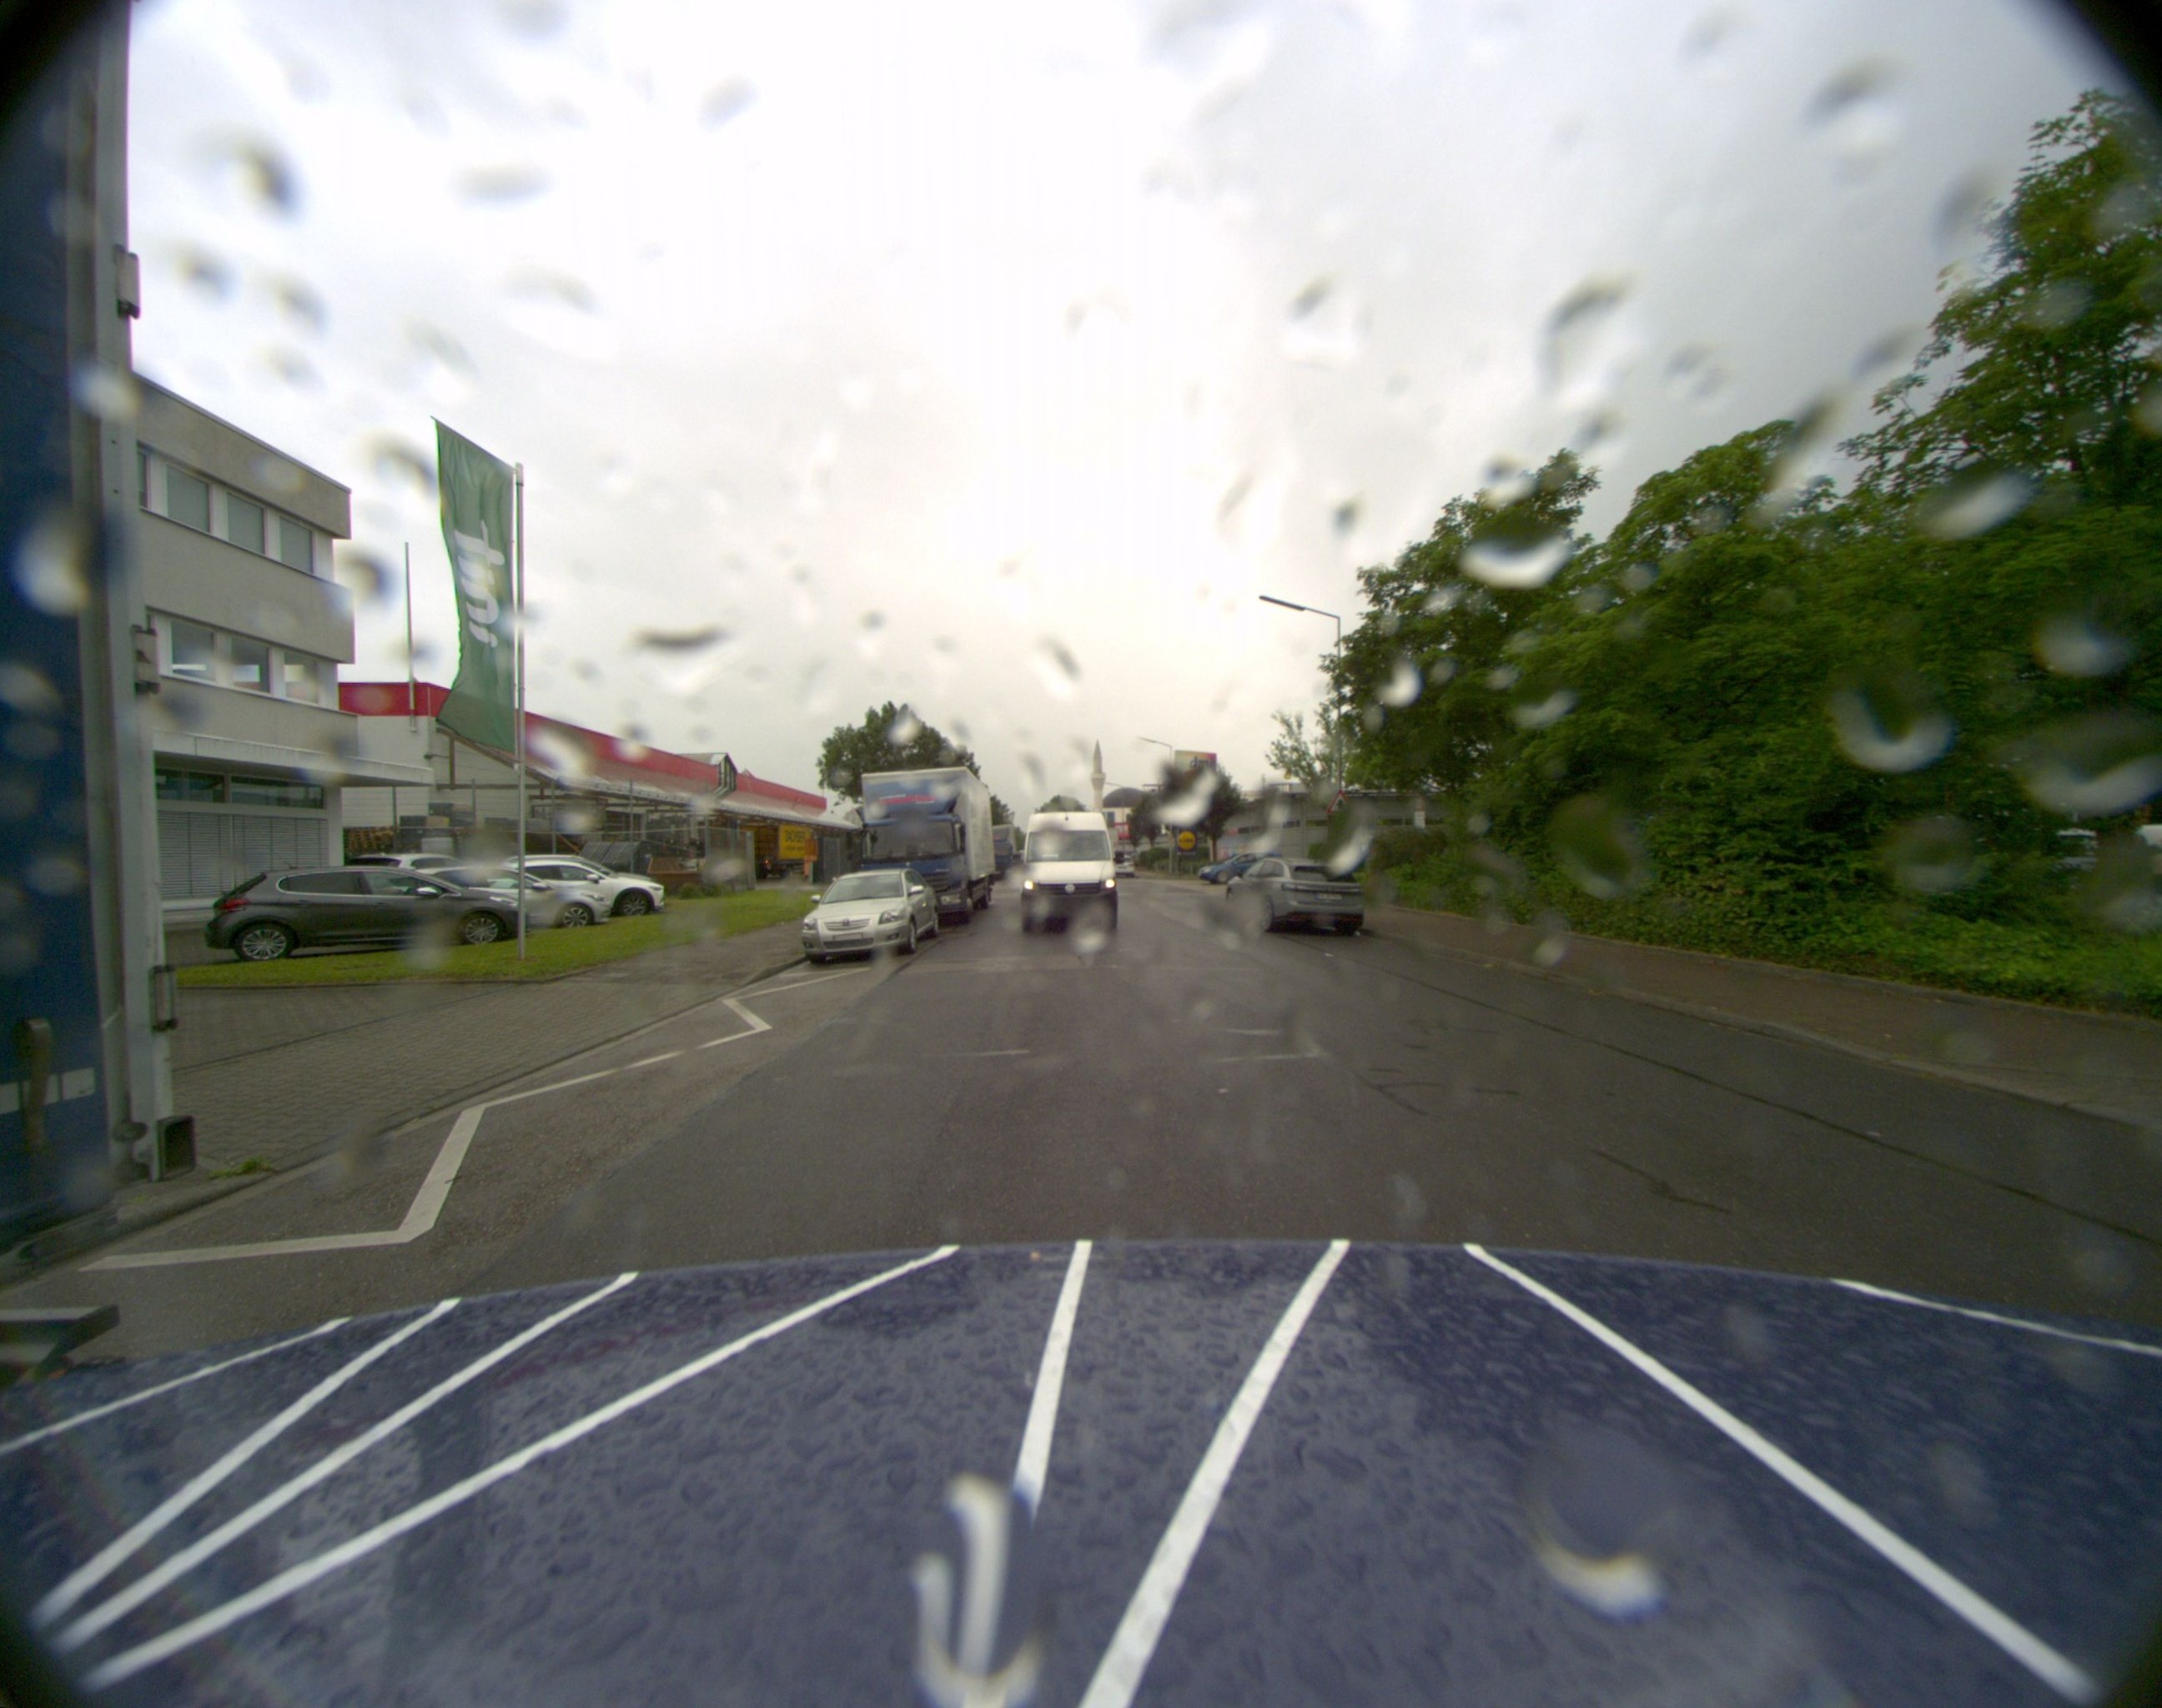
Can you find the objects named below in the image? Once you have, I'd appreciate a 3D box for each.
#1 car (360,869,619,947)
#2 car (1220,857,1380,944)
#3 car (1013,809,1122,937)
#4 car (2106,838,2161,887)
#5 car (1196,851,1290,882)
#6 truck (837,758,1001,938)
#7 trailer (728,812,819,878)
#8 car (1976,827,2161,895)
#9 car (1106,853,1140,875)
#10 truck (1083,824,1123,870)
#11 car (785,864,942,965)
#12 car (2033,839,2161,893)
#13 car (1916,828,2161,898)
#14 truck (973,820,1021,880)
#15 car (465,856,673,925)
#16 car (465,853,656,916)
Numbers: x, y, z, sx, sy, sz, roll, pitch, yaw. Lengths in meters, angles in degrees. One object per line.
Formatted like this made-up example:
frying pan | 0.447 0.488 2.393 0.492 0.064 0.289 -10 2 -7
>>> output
car | -12.175 1.025 15.851 1.702 1.279 4.008 0 1 42
car | 4.592 0.900 16.789 1.814 1.519 4.745 3 0 -4
car | -0.234 0.353 17.529 2.085 2.466 5.346 -1 0 0
car | 33.791 0.239 22.265 2.000 1.477 3.996 -1 0 -9
car | 7.564 0.565 35.745 3.998 1.432 1.736 0 0 -4
truck | -4.011 -0.155 21.213 2.748 3.767 9.295 -4 1 -3
trailer | -21.257 -0.611 53.213 2.975 4.218 9.467 -1 1 -4
car | 29.007 0.152 21.695 2.000 1.783 3.996 -1 1 -9
car | 2.805 0.661 51.456 1.841 1.426 4.490 1 0 -3
truck | 1.782 -0.582 65.911 2.889 3.724 7.865 -1 0 -2
car | -3.737 0.961 13.854 1.802 1.433 4.343 -1 0 -3
car | 31.162 0.322 22.021 2.000 1.477 3.996 -1 0 -9
car | 26.901 0.218 21.492 2.000 1.783 3.996 -1 1 -9
truck | -5.721 -0.277 53.019 2.679 3.671 8.006 -4 1 -3
car | -12.723 0.830 19.066 1.770 1.461 4.008 0 1 42
car | -14.301 0.777 21.044 1.868 1.518 4.008 0 1 42
